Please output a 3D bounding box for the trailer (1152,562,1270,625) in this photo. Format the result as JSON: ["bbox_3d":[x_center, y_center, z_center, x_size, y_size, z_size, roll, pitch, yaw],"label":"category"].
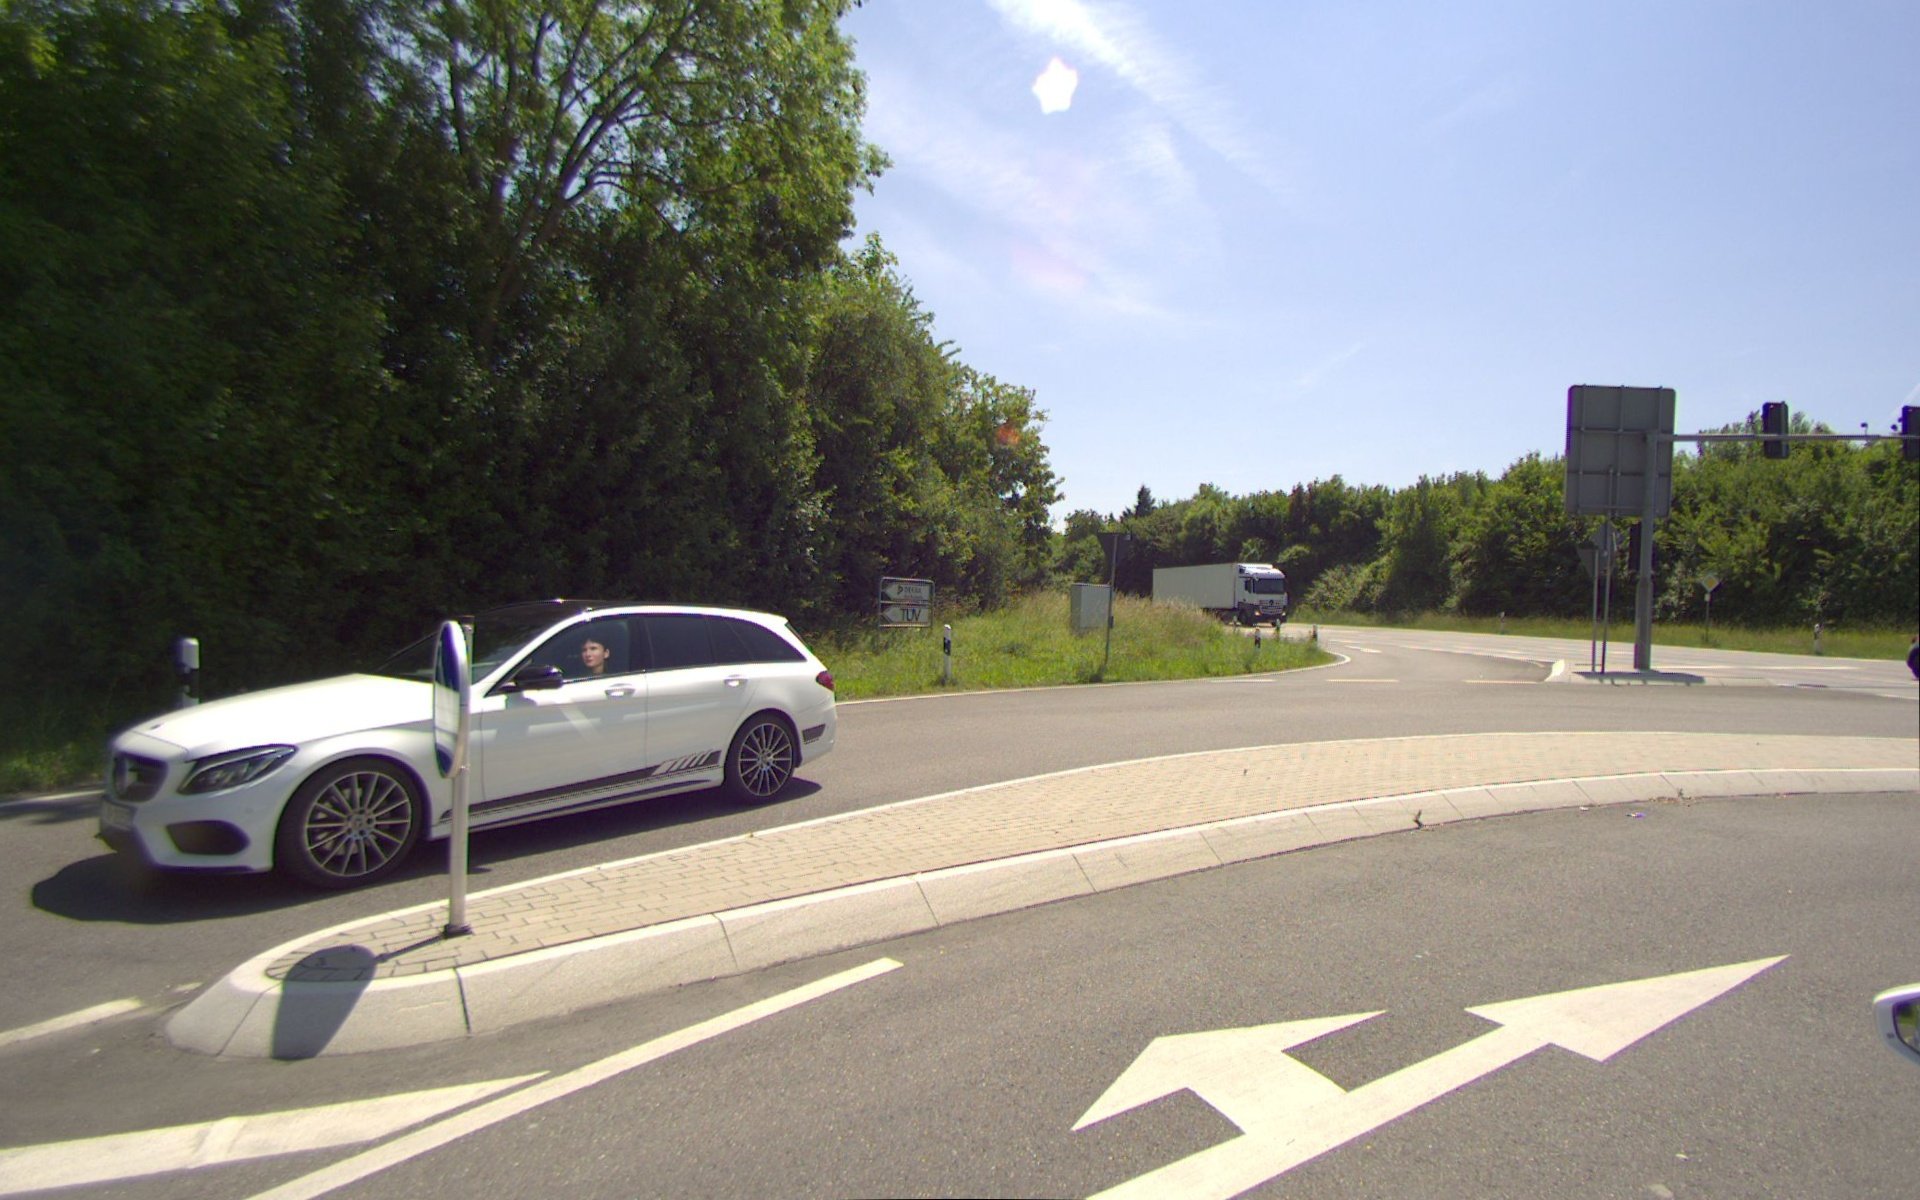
[{"bbox_3d":[17.627,-0.446,72.122,2.614,4.090,13.808,0,0,-11],"label":"trailer"}]

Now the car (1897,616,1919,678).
[{"bbox_3d":[23.334,1.090,22.029,1.701,1.423,3.984,0,0,-4],"label":"car"}]

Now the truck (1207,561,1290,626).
[{"bbox_3d":[18.823,-0.410,65.957,2.614,4.090,6.267,0,0,-11],"label":"truck"}]

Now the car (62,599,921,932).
[{"bbox_3d":[-2.657,0.746,7.121,1.781,1.431,5.313,2,1,37],"label":"car"}]
